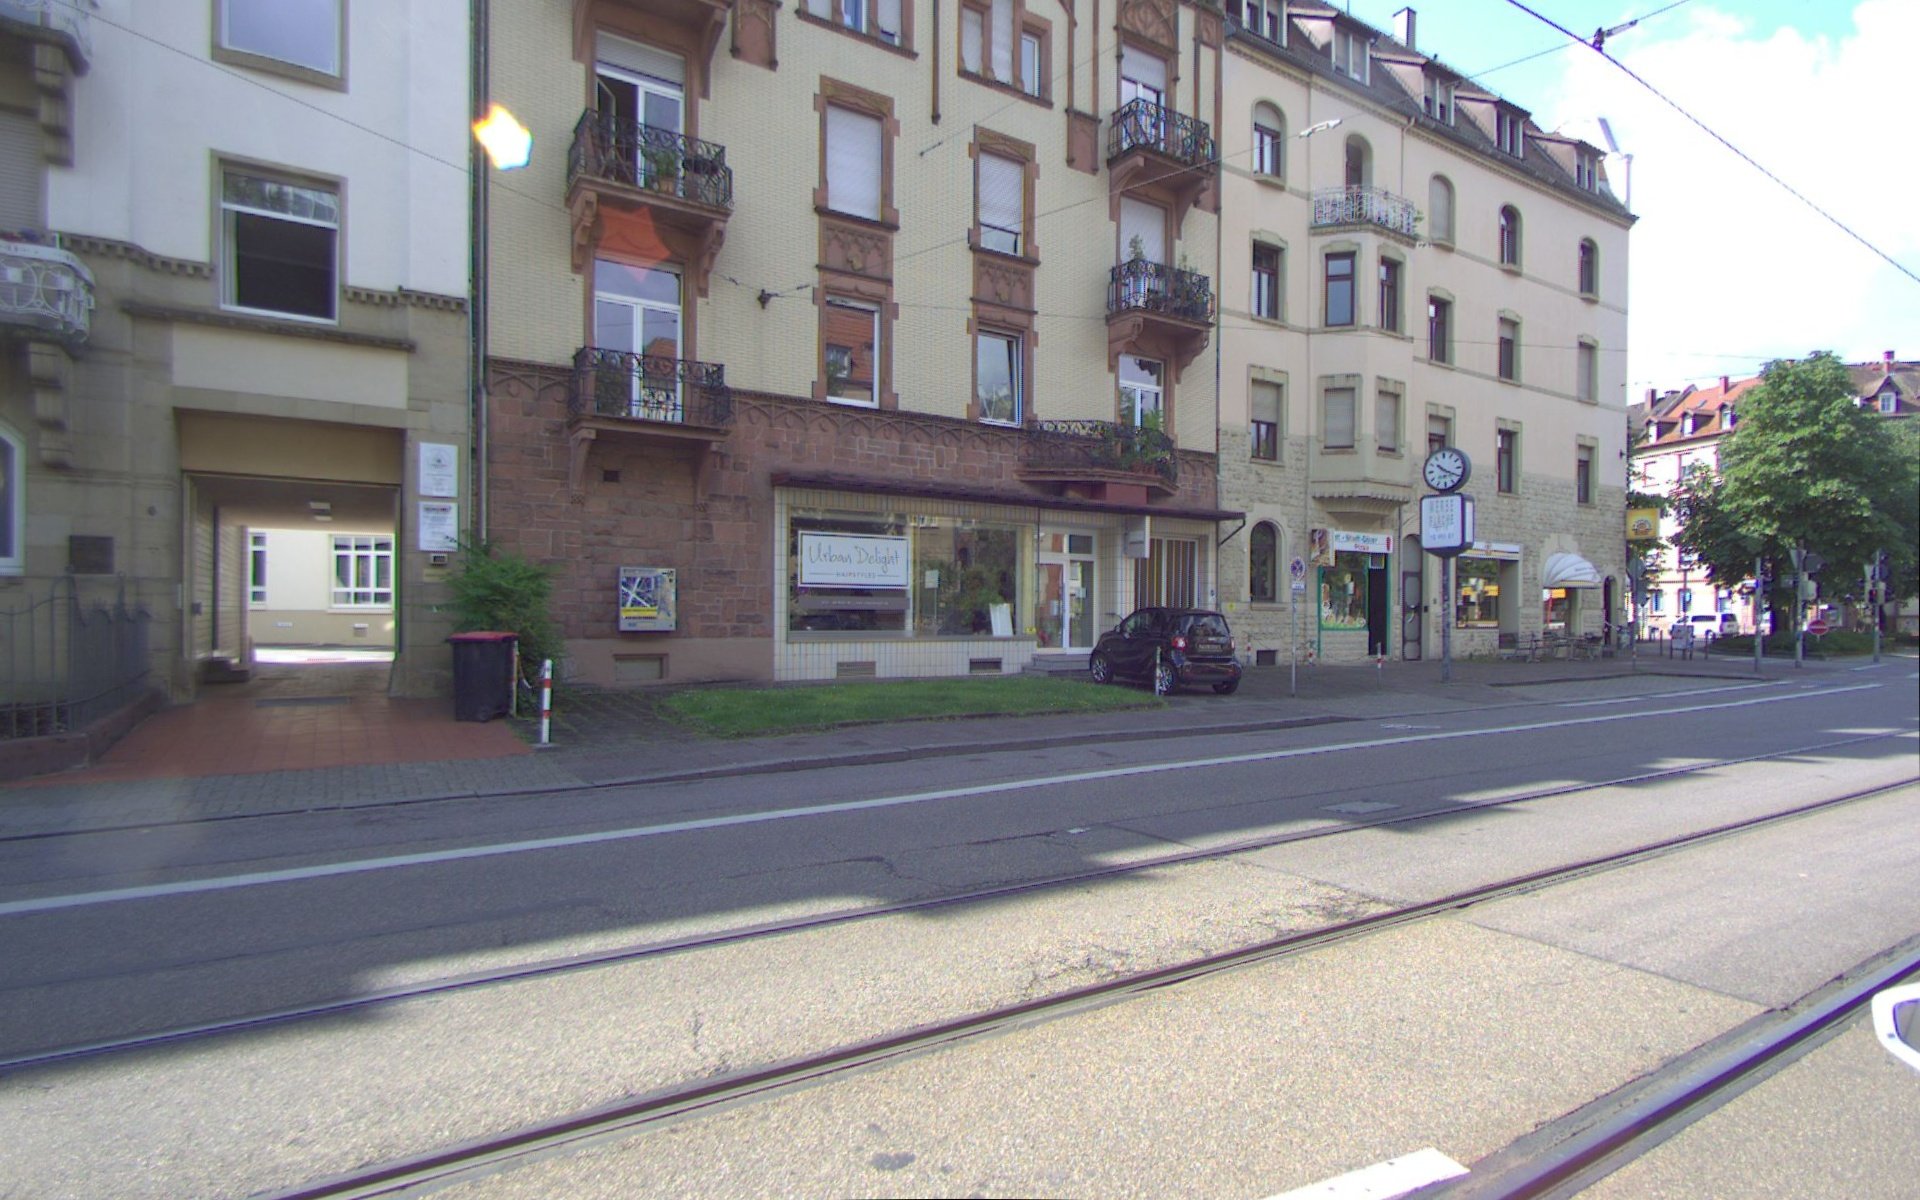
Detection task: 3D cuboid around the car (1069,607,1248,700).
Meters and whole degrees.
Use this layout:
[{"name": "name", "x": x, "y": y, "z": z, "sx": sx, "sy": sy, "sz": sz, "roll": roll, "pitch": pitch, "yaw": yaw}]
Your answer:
[{"name": "car", "x": 3.696, "y": 0.947, "z": 19.176, "sx": 1.658, "sy": 1.533, "sz": 3.222, "roll": 1, "pitch": 1, "yaw": -29}]

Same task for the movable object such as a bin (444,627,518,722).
[{"name": "movable object such as a bin", "x": -5.866, "y": 0.901, "z": 12.325, "sx": 0.595, "sy": 1.084, "sz": 0.597, "roll": 2, "pitch": 2, "yaw": 1}]

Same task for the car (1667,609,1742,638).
[{"name": "car", "x": 56.919, "y": 1.803, "z": 76.839, "sx": 1.971, "sy": 2.039, "sz": 4.113, "roll": 0, "pitch": -4, "yaw": -23}]
